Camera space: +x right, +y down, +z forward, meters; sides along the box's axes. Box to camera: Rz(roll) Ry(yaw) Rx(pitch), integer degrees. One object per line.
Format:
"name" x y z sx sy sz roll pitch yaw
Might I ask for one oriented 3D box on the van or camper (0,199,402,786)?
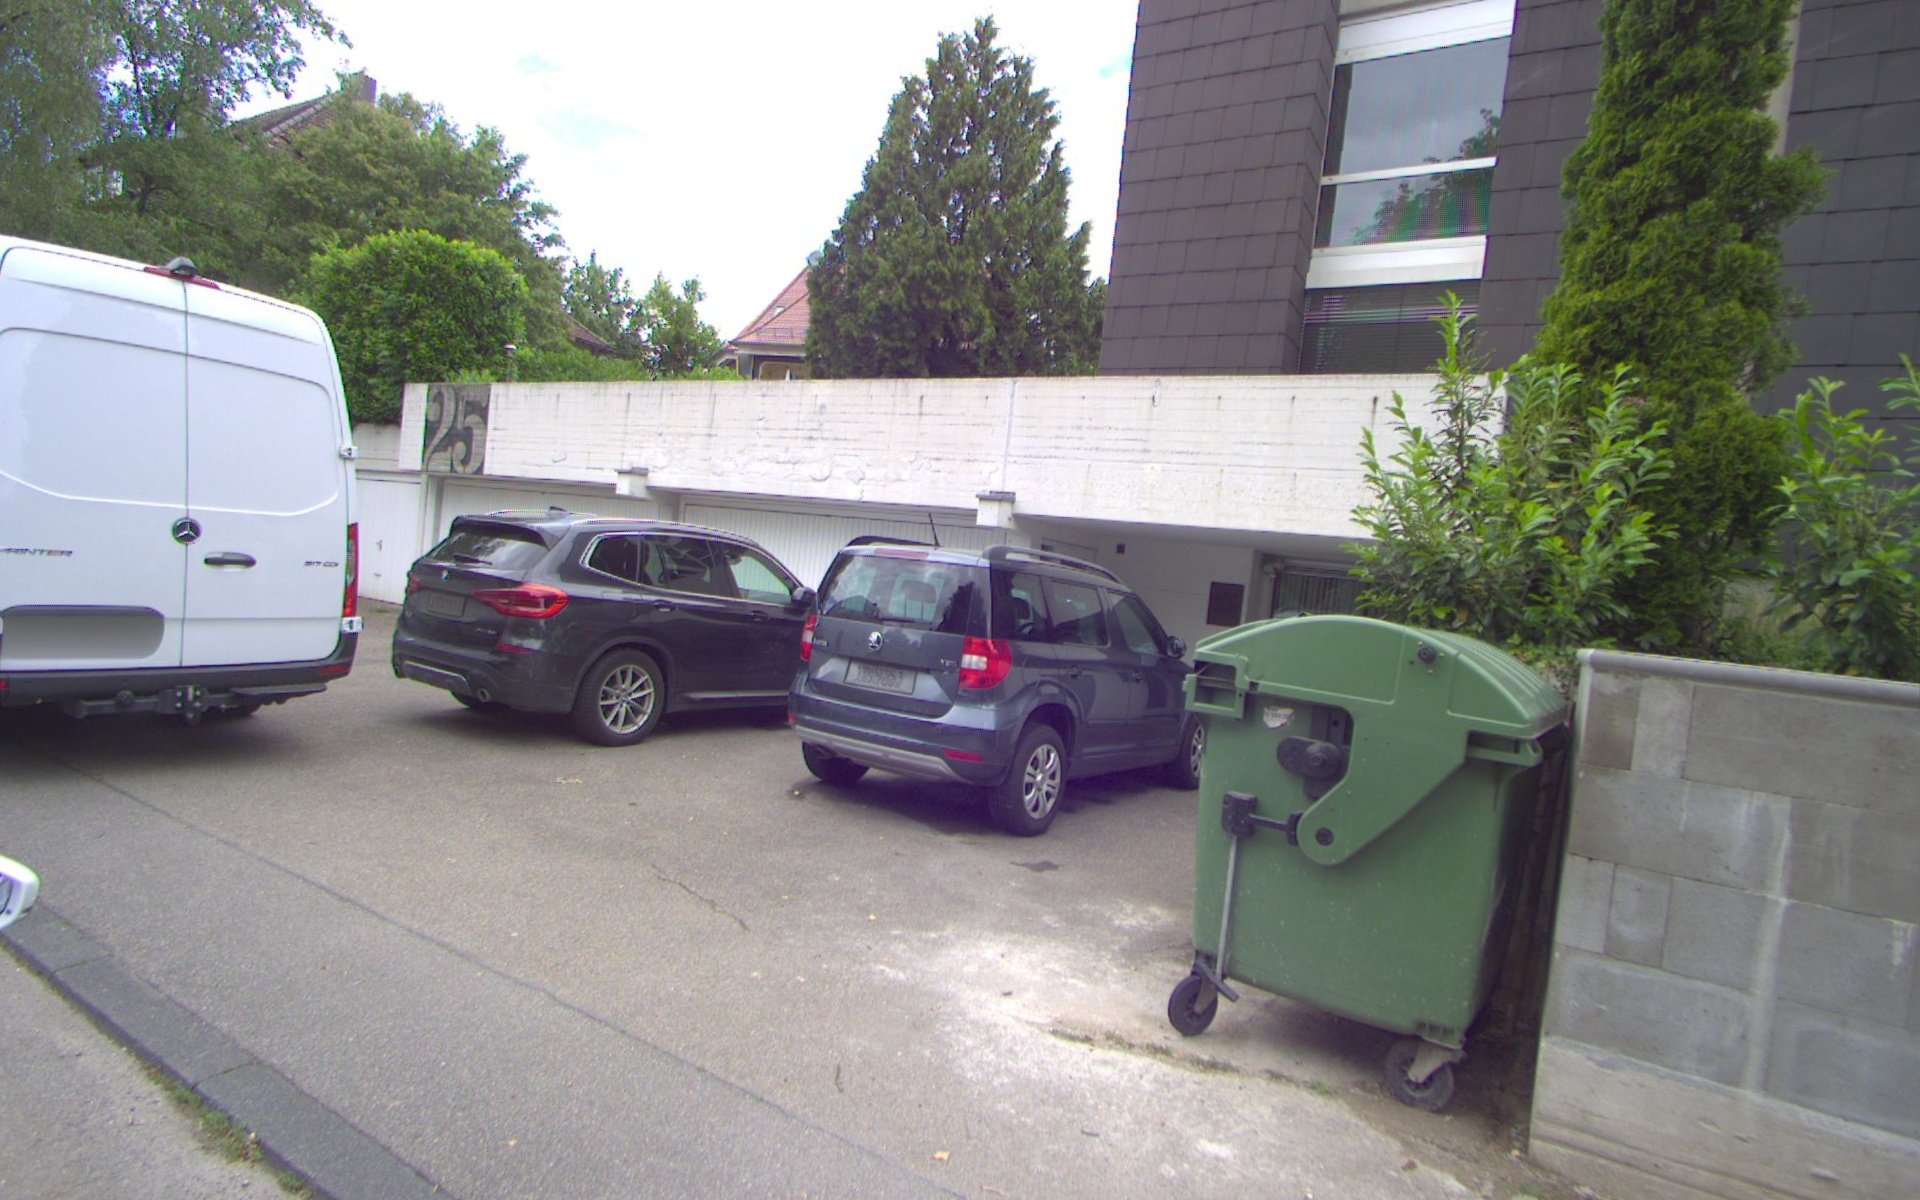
"van or camper" -6.700 -0.734 6.897 6.432 2.653 1.995 7 1 32

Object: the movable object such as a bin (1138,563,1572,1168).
"movable object such as a bin" 1.357 0.730 3.387 1.016 1.550 1.034 7 2 33

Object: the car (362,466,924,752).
"car" -2.356 0.123 8.674 1.710 1.772 4.418 7 1 33

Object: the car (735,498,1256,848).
"car" 0.539 0.454 7.392 1.804 1.772 3.973 7 1 35
